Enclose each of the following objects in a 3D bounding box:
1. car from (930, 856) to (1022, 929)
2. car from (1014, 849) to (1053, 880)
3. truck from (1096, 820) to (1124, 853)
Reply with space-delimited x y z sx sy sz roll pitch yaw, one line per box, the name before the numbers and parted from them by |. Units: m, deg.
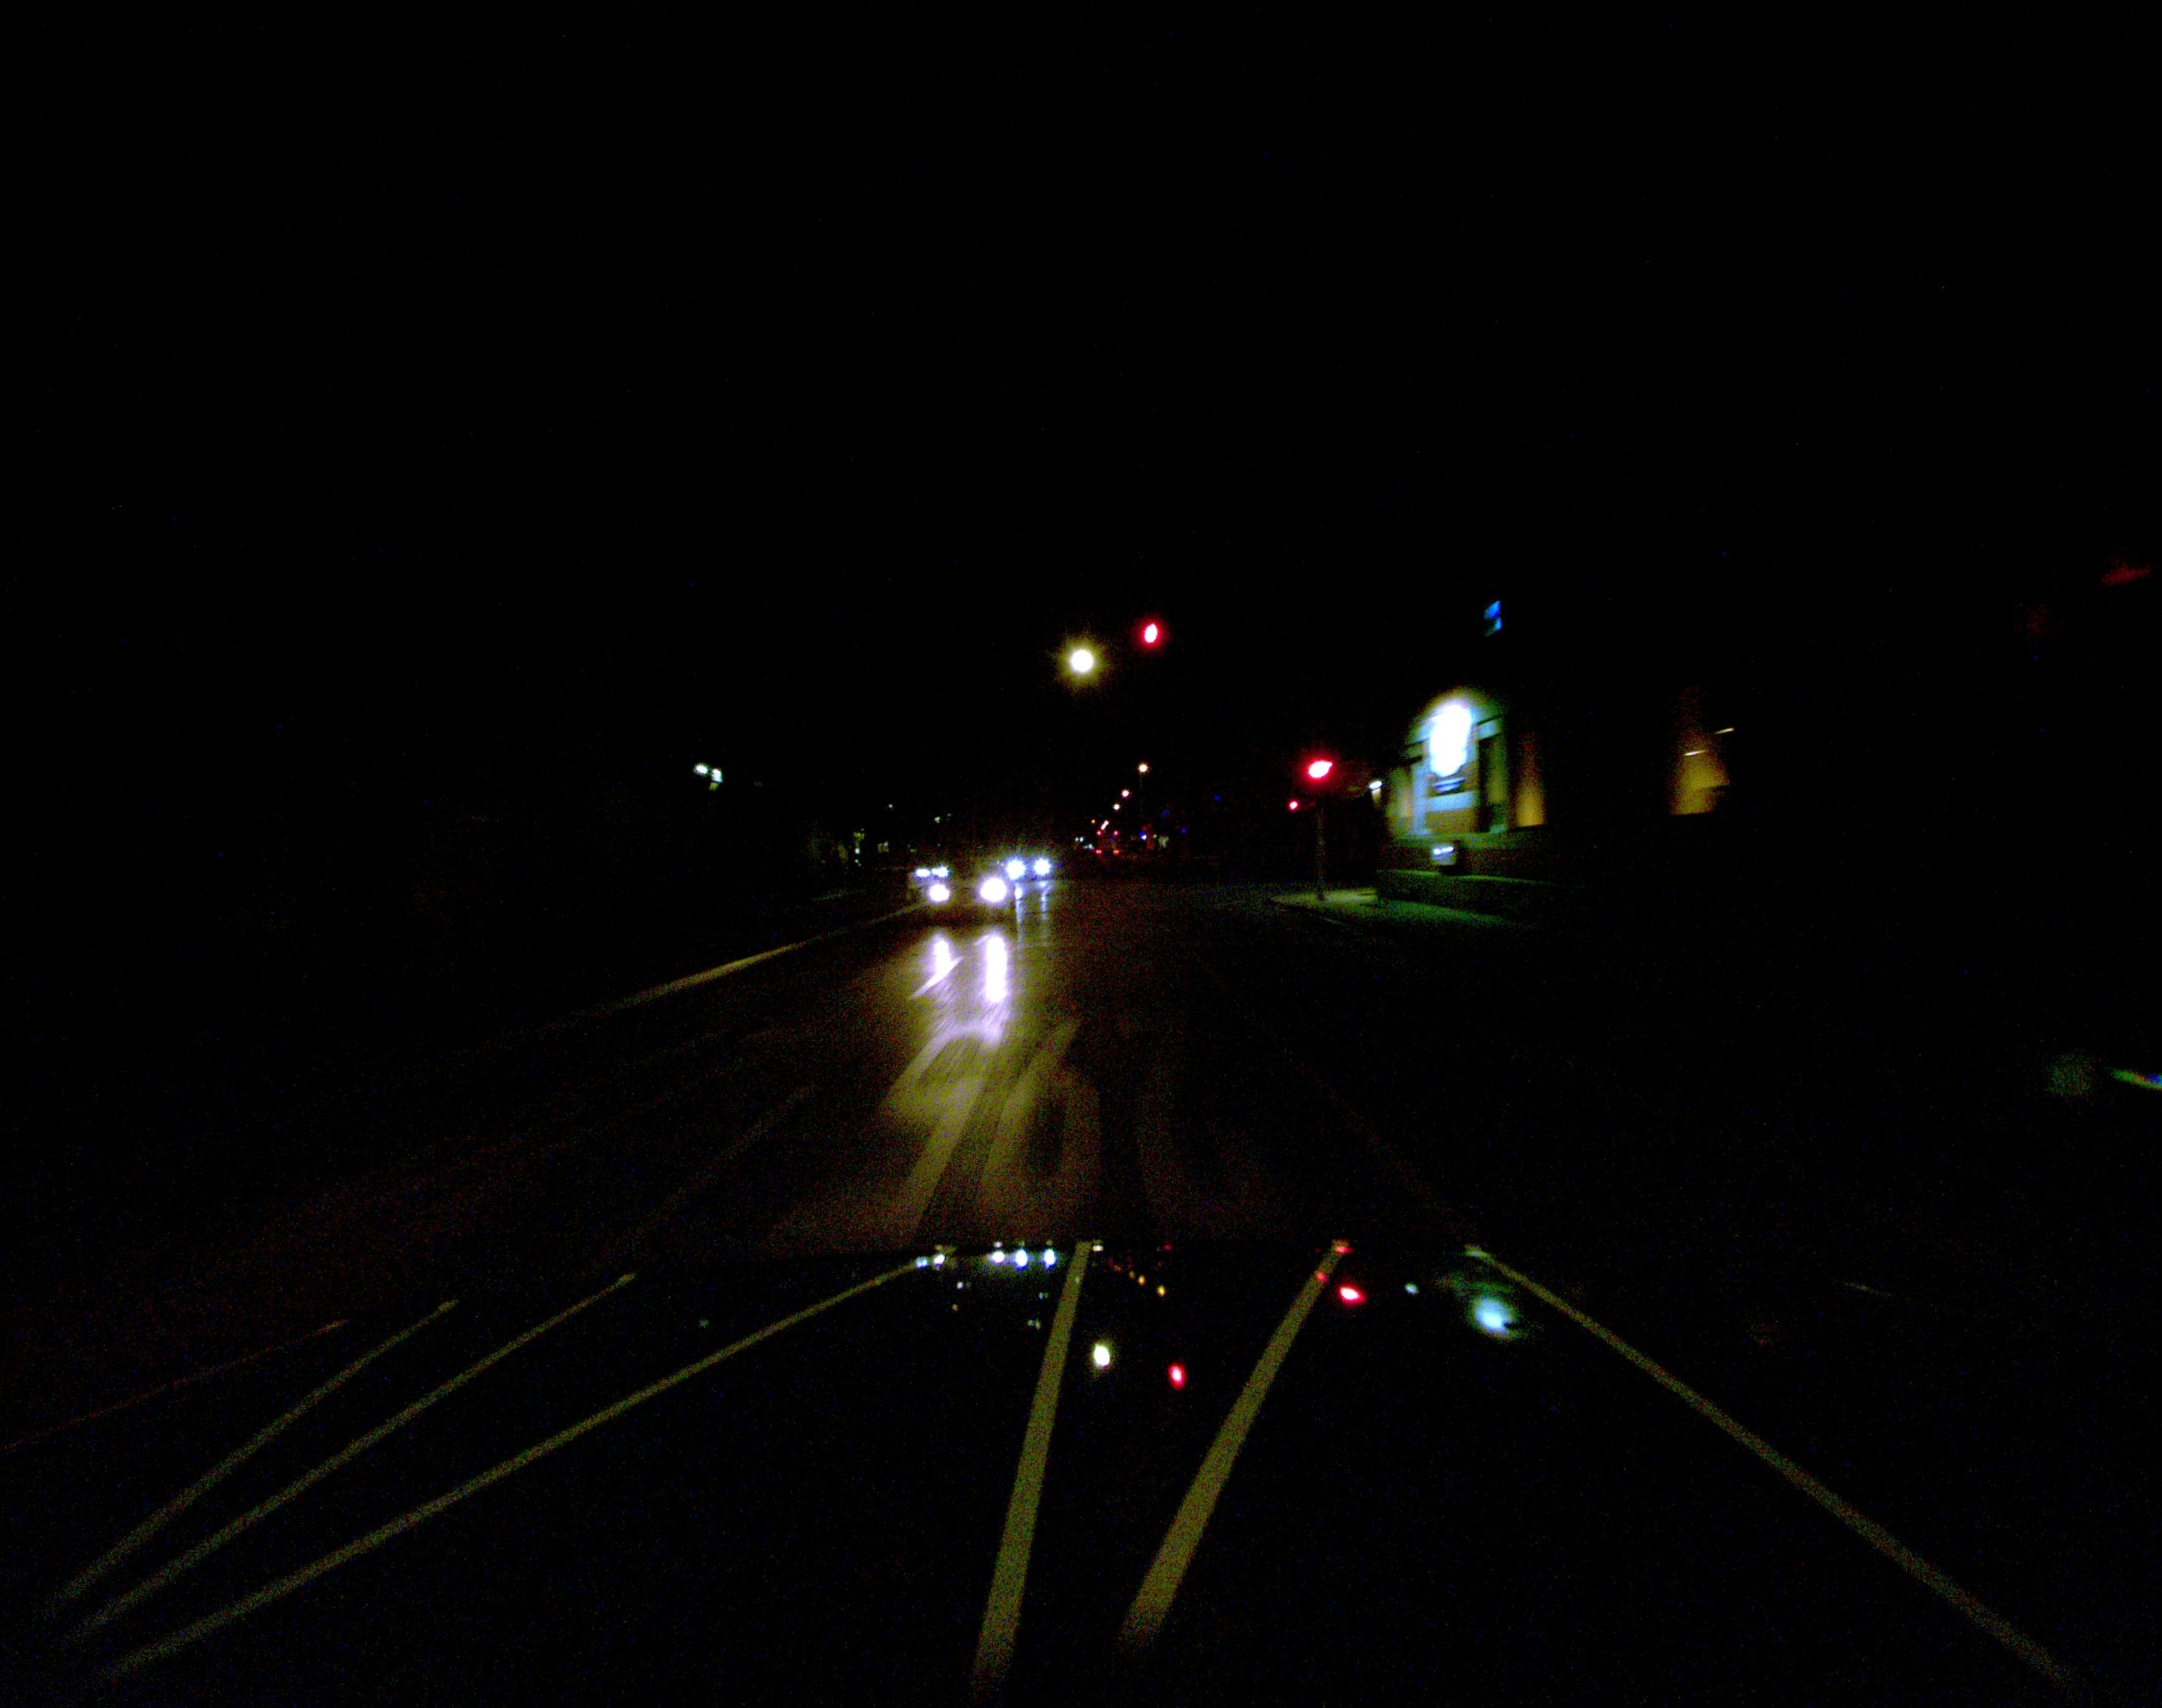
car | -2.465 0.849 18.650 1.634 1.430 3.839 -3 1 0
car | -2.488 0.522 40.415 1.729 1.455 3.999 -4 1 0
truck | 4.121 -2.524 111.048 3.516 4.558 9.039 -3 1 0
